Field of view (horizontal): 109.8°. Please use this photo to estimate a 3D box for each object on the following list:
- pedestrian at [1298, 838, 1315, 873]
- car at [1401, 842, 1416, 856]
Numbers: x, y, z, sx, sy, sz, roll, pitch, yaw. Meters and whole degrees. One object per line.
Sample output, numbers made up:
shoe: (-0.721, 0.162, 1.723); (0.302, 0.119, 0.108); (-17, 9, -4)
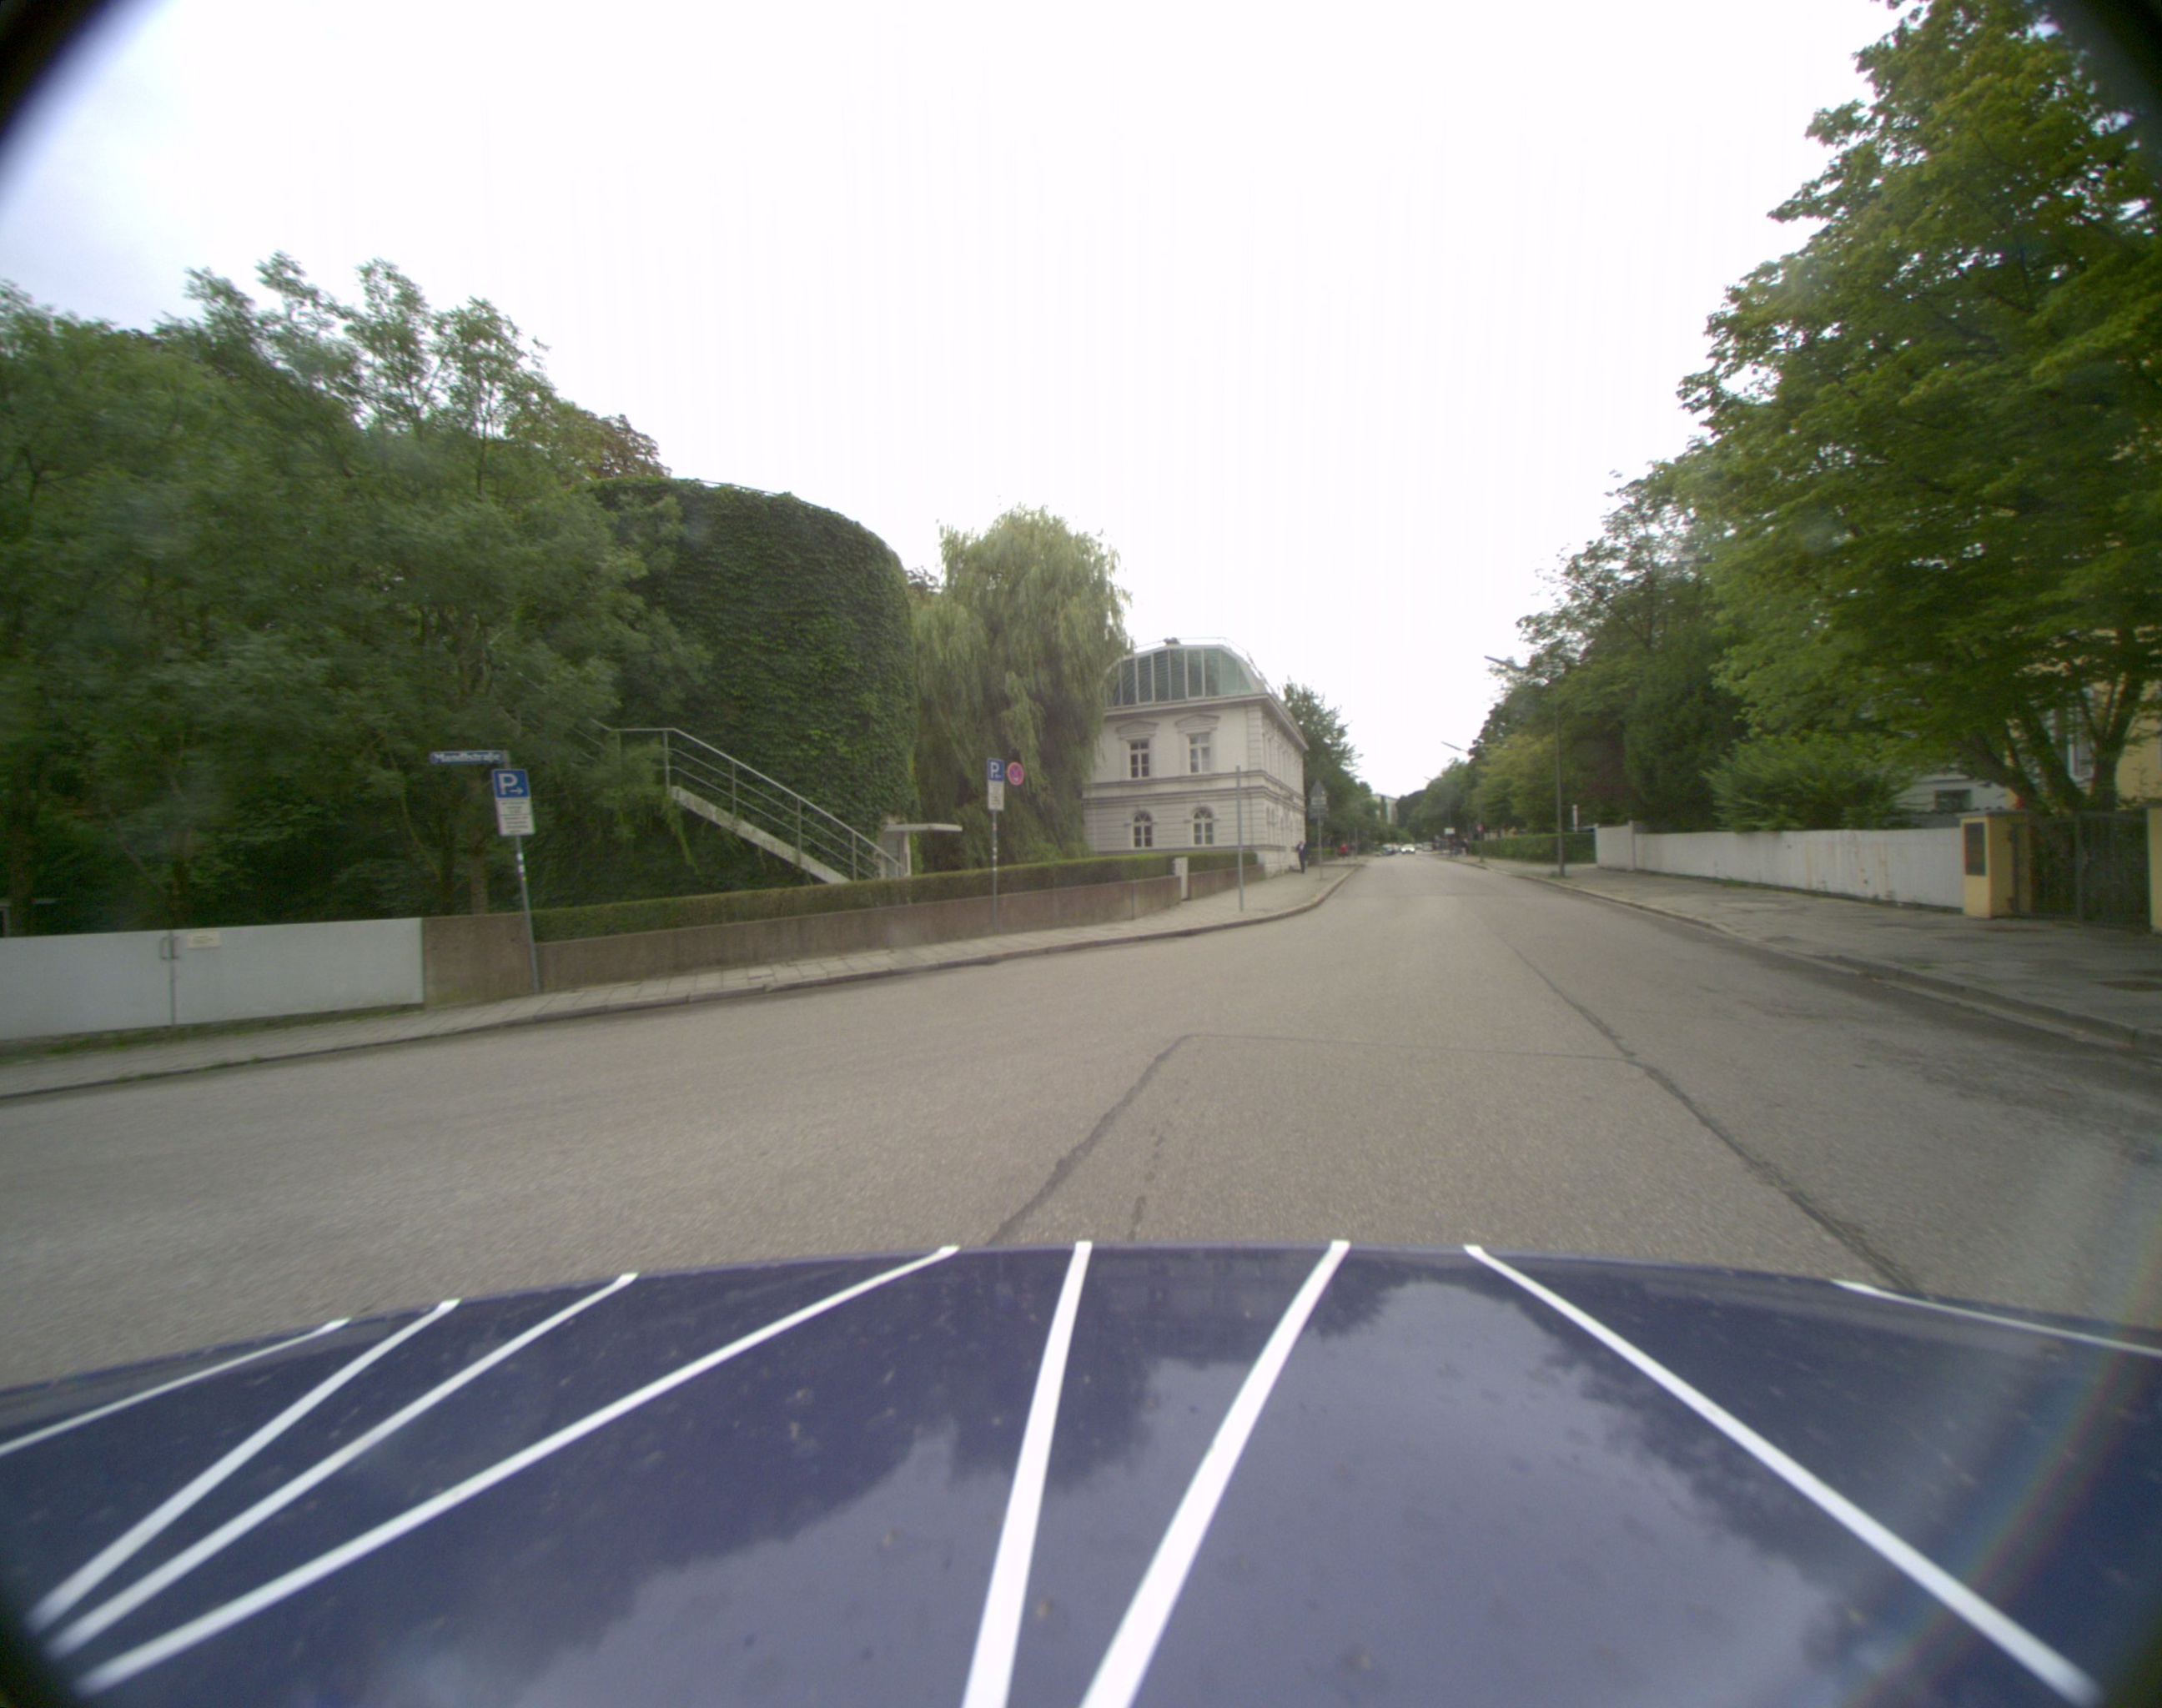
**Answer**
pedestrian: (11.284, 0.066, 38.054); (0.678, 1.696, 0.769); (1, 2, 27)
car: (50.376, -0.789, 116.893); (1.995, 2.002, 4.005); (-2, 1, 22)
